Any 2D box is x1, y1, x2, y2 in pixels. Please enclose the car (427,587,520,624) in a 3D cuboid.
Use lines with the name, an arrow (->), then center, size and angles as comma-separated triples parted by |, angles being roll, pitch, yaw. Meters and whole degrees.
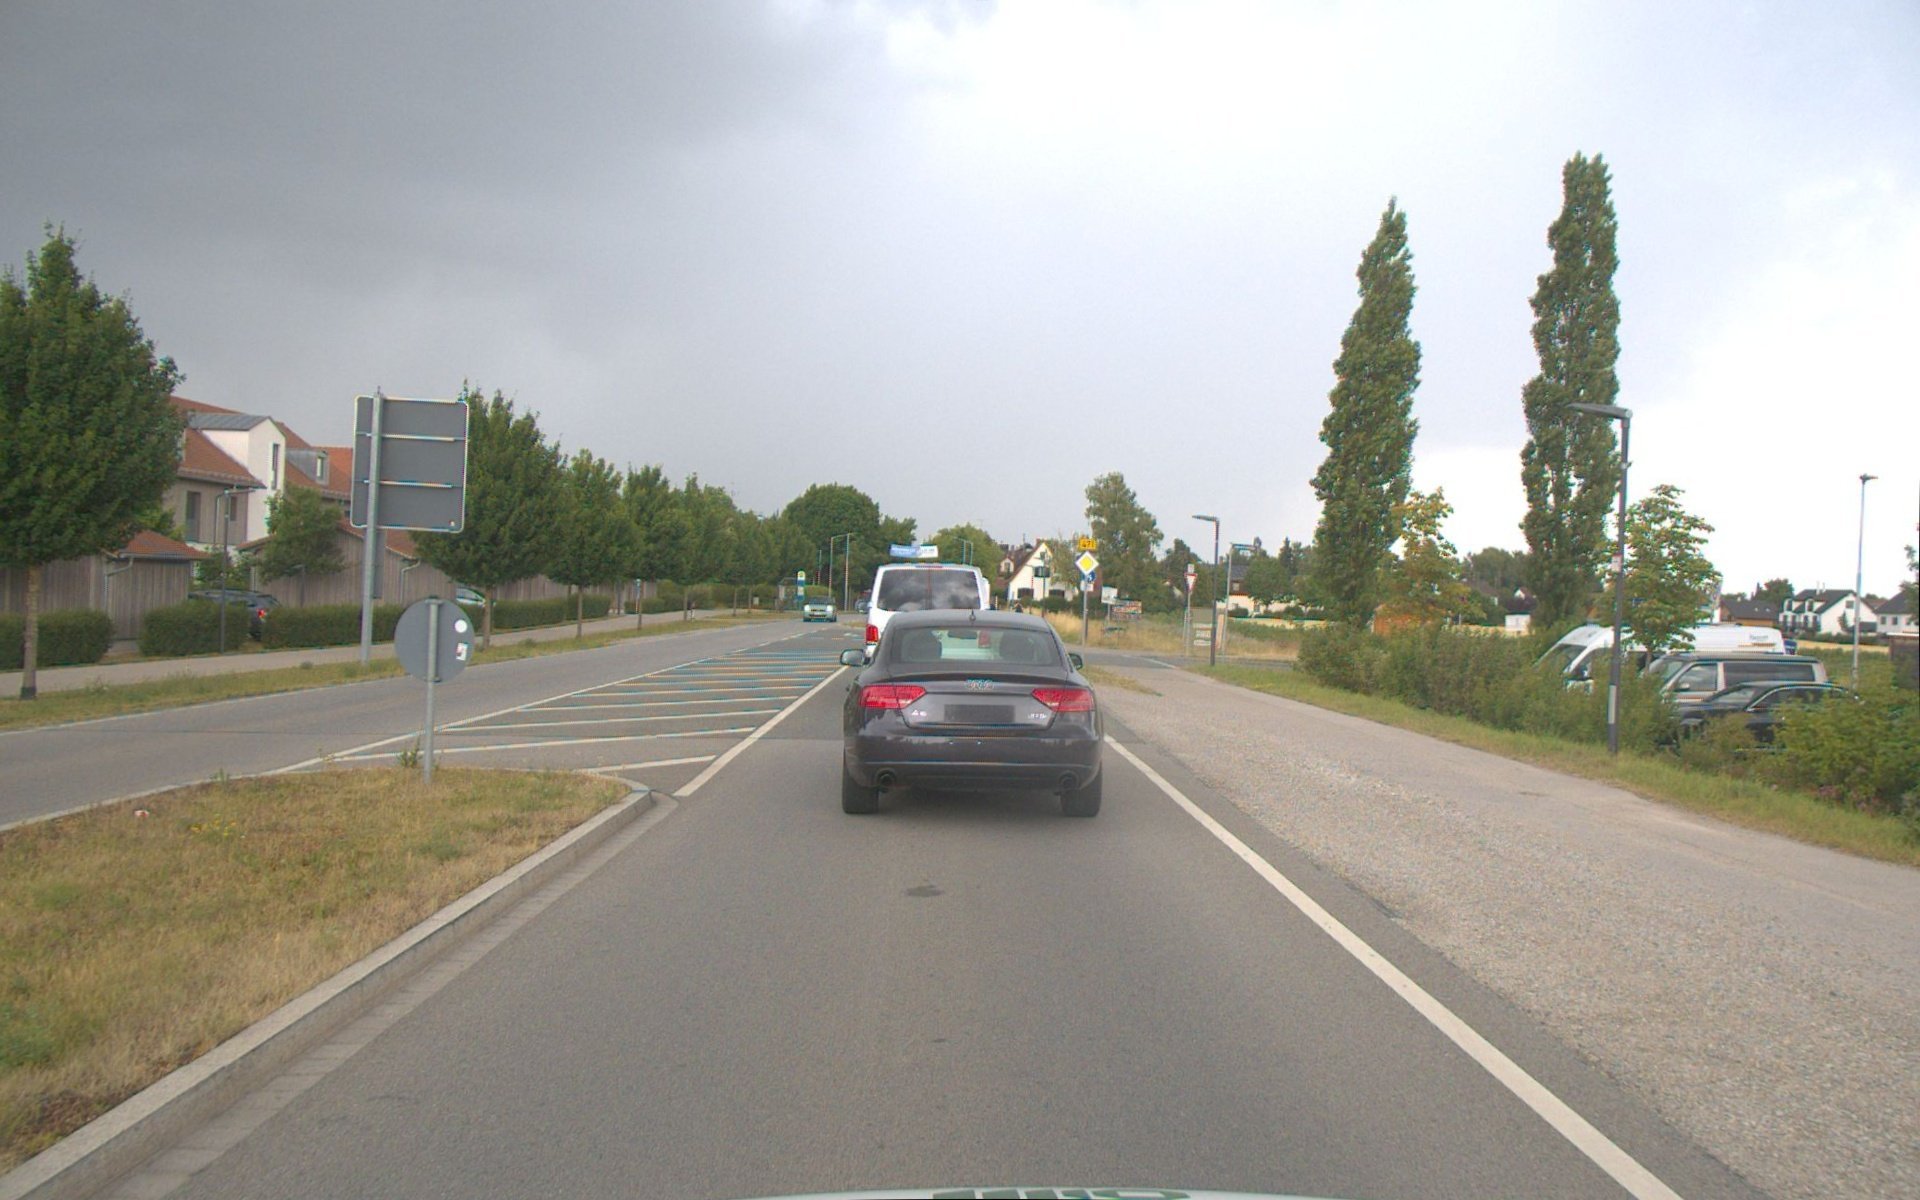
car -> -23.873, 0.260, 81.279 | 3.906, 1.583, 2.000 | 3, 0, 0

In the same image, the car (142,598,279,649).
car -> -22.878, 0.709, 50.572 | 3.443, 1.515, 1.563 | 1, 0, -1

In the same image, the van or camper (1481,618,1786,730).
van or camper -> 15.877, 1.723, 39.206 | 6.338, 2.507, 2.280 | 1, 0, -4

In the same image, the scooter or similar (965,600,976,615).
scooter or similar -> 0.788, 0.568, 124.306 | 0.831, 1.123, 1.094 | 1, 0, -1

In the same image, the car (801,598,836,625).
car -> -8.031, 0.649, 94.204 | 1.734, 1.469, 3.999 | 1, 0, -1

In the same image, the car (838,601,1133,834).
car -> 0.006, 0.736, 12.574 | 1.790, 1.413, 4.383 | 0, 0, -5

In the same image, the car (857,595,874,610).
car -> -9.450, 0.259, 165.428 | 1.620, 1.454, 3.601 | 1, 0, -1

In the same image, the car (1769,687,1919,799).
car -> 15.745, 2.307, 27.001 | 4.063, 1.626, 2.079 | 1, 0, -3

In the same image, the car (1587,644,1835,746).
car -> 16.305, 2.043, 36.047 | 4.501, 2.049, 1.999 | 1, 0, -3

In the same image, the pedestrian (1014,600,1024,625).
pedestrian -> 3.682, 0.802, 103.337 | 0.611, 1.551, 0.679 | 0, 0, -1

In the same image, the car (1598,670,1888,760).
car -> 15.549, 2.267, 32.969 | 4.993, 1.626, 1.757 | 1, 0, -3

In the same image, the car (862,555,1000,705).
car -> -0.476, 0.392, 24.488 | 1.789, 1.946, 3.998 | 3, 0, -3
